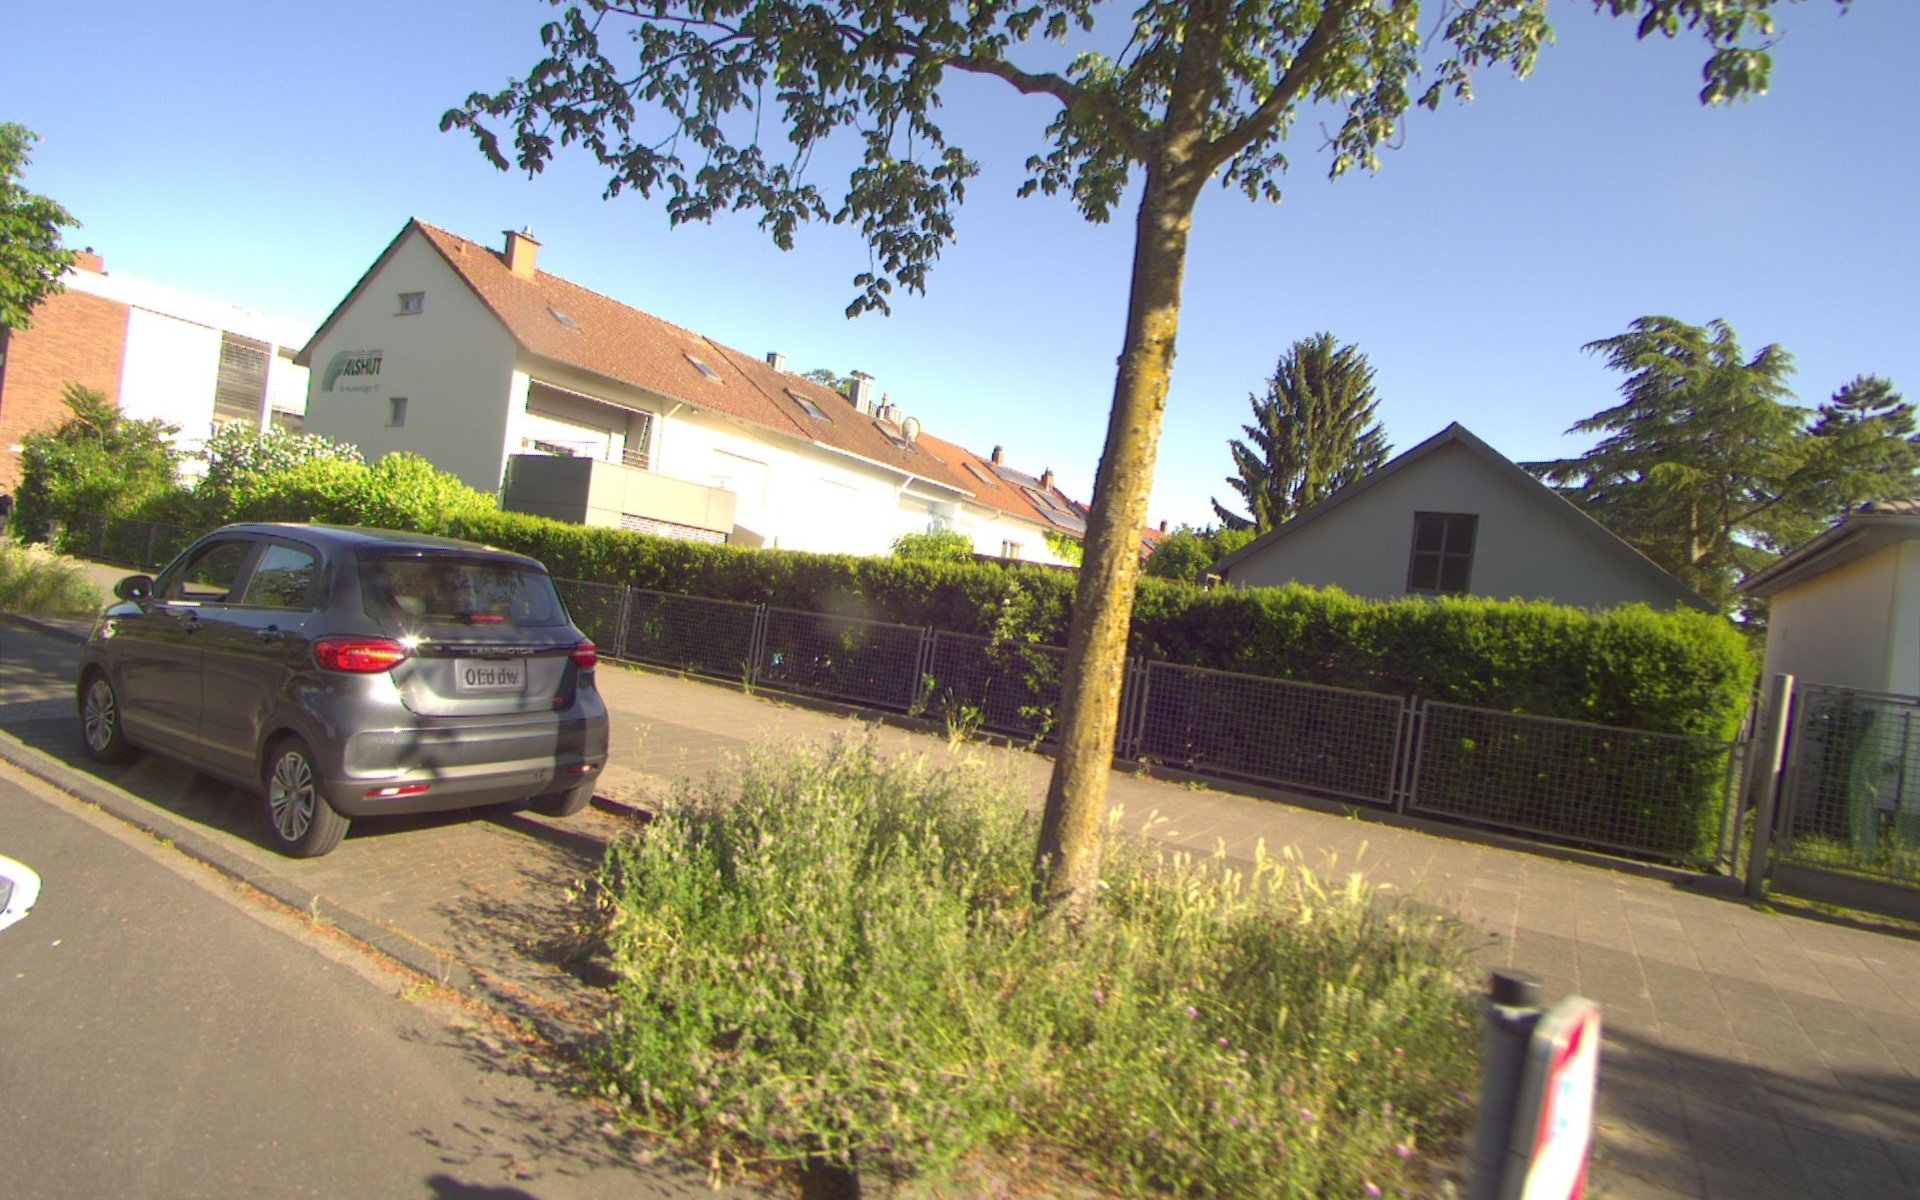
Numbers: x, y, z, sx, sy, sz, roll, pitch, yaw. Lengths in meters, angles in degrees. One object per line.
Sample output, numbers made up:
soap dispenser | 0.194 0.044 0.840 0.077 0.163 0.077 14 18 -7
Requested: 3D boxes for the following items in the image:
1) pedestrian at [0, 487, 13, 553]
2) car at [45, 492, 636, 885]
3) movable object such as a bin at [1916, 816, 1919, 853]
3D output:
pedestrian | -26.243 -2.206 27.315 0.604 1.752 0.632 8 -2 -43
car | -3.784 0.321 5.997 3.540 1.595 1.493 7 2 31
movable object such as a bin | 8.846 1.939 8.821 0.518 0.728 0.459 6 2 30
